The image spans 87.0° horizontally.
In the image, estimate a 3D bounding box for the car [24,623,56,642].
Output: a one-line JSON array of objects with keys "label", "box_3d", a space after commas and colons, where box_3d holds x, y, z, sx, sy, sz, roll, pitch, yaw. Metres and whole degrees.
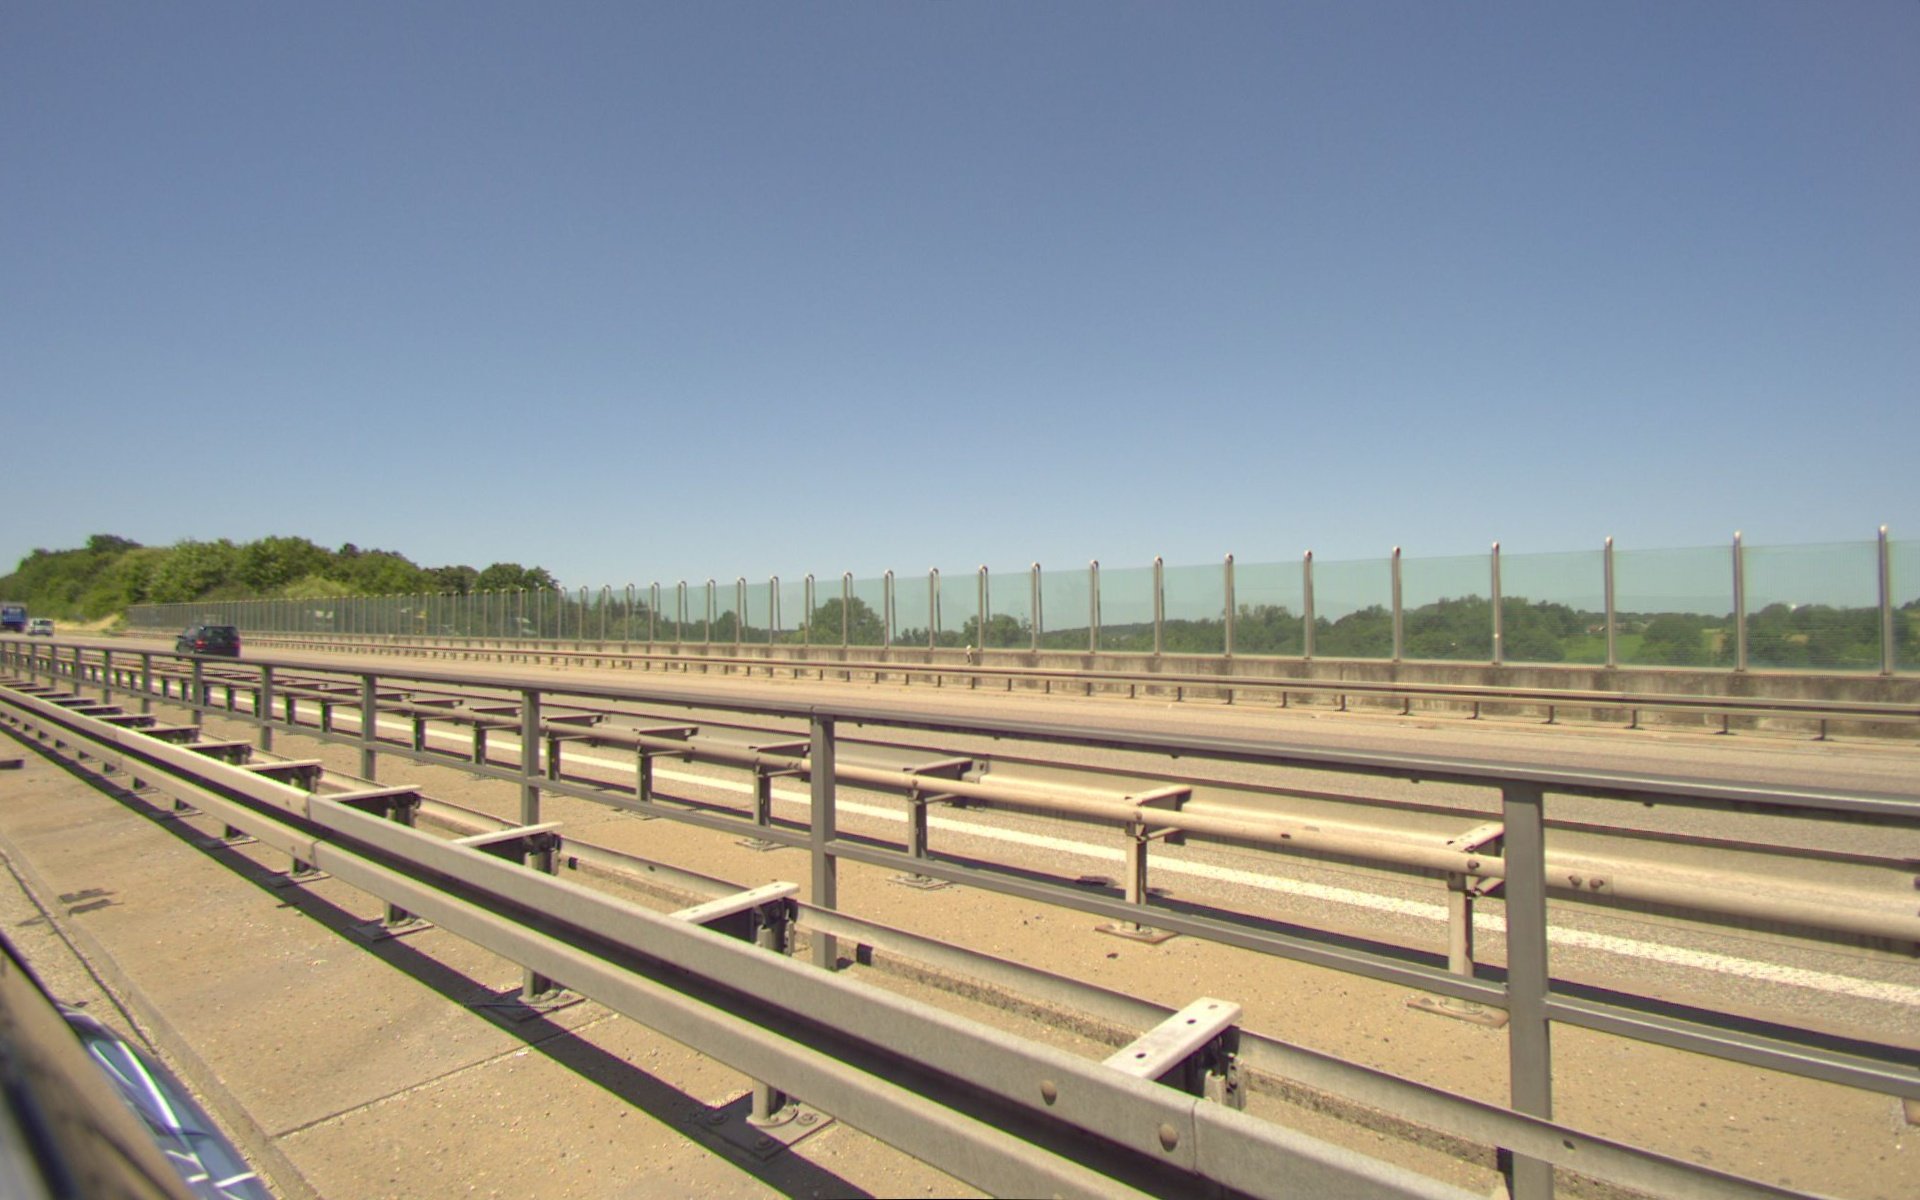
[{"label": "car", "box_3d": [-103.013, 3.614, 113.318, 4.487, 1.999, 2.013, -2, -5, 41]}]

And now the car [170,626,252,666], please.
[{"label": "car", "box_3d": [-33.255, 2.011, 44.881, 4.183, 1.685, 1.973, -1, -4, 40]}]

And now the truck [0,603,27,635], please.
[{"label": "truck", "box_3d": [-128.569, 2.614, 136.527, 9.986, 4.117, 2.839, -1, -4, 42]}]
